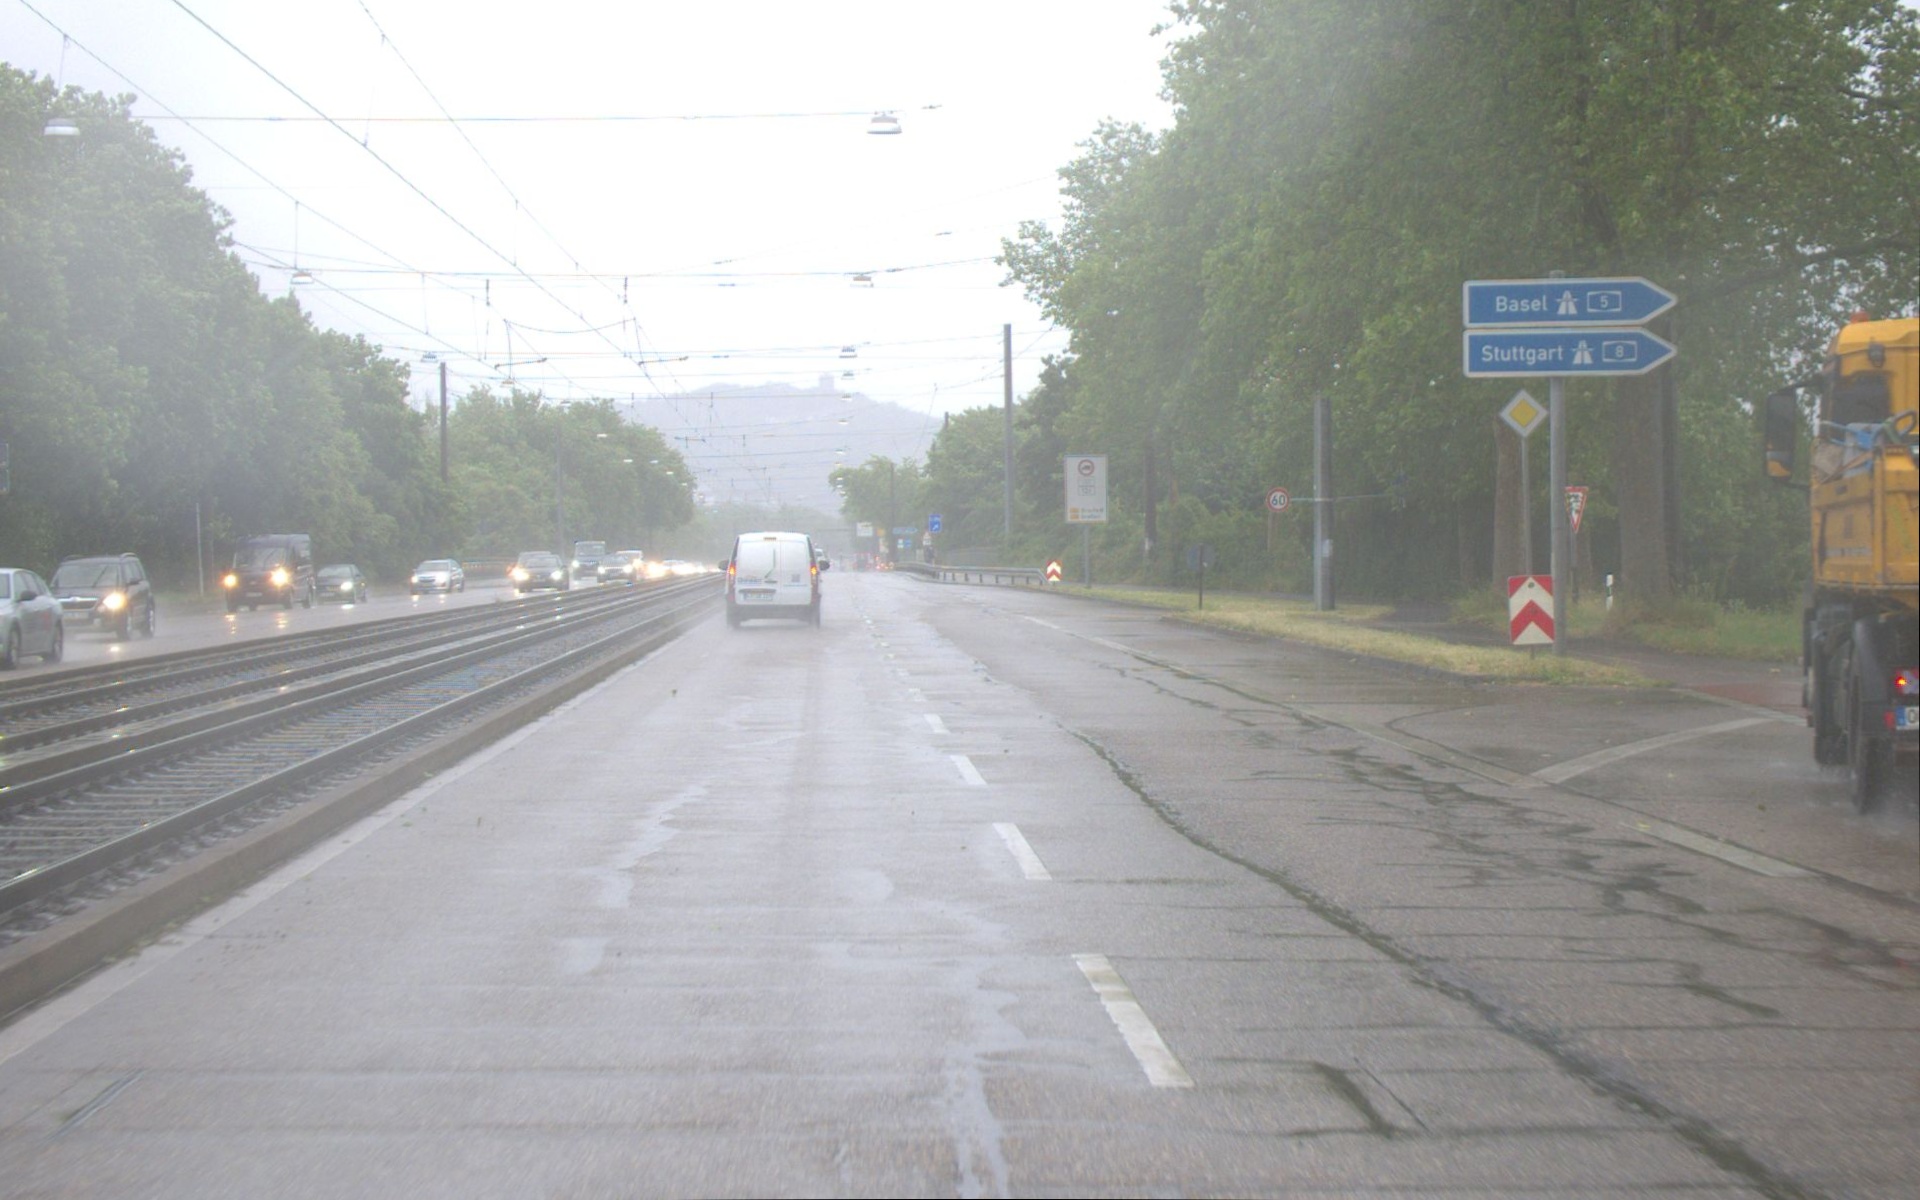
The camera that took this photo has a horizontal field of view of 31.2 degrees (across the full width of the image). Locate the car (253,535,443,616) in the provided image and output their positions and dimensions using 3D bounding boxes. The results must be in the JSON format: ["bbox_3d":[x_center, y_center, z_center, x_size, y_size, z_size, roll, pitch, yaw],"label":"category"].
[{"bbox_3d":[-19.120,-0.799,107.670,2.337,2.417,5.837,2,2,36],"label":"car"}]

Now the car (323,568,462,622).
[{"bbox_3d":[-20.210,-0.213,122.548,2.087,1.792,4.753,2,2,37],"label":"car"}]

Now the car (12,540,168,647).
[{"bbox_3d":[-15.927,-0.158,63.155,1.887,1.803,5.006,1,2,-4],"label":"car"}]

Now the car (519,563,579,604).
[{"bbox_3d":[-16.762,-0.692,140.347,1.790,1.544,5.314,1,2,0],"label":"car"}]

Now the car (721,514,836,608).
[{"bbox_3d":[-3.386,-0.762,64.638,1.989,1.678,3.740,1,2,-1],"label":"car"}]

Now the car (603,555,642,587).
[{"bbox_3d":[-17.952,-1.551,182.996,1.776,1.579,5.682,1,2,-2],"label":"car"}]

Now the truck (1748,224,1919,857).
[{"bbox_3d":[6.470,-0.382,20.940,2.556,3.246,6.931,1,2,8],"label":"truck"}]

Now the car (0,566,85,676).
[{"bbox_3d":[-13.577,0.251,47.870,1.741,1.349,4.546,1,2,-2],"label":"car"}]

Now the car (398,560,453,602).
[{"bbox_3d":[-23.406,-0.856,150.646,1.819,1.700,5.021,1,2,-2],"label":"car"}]
